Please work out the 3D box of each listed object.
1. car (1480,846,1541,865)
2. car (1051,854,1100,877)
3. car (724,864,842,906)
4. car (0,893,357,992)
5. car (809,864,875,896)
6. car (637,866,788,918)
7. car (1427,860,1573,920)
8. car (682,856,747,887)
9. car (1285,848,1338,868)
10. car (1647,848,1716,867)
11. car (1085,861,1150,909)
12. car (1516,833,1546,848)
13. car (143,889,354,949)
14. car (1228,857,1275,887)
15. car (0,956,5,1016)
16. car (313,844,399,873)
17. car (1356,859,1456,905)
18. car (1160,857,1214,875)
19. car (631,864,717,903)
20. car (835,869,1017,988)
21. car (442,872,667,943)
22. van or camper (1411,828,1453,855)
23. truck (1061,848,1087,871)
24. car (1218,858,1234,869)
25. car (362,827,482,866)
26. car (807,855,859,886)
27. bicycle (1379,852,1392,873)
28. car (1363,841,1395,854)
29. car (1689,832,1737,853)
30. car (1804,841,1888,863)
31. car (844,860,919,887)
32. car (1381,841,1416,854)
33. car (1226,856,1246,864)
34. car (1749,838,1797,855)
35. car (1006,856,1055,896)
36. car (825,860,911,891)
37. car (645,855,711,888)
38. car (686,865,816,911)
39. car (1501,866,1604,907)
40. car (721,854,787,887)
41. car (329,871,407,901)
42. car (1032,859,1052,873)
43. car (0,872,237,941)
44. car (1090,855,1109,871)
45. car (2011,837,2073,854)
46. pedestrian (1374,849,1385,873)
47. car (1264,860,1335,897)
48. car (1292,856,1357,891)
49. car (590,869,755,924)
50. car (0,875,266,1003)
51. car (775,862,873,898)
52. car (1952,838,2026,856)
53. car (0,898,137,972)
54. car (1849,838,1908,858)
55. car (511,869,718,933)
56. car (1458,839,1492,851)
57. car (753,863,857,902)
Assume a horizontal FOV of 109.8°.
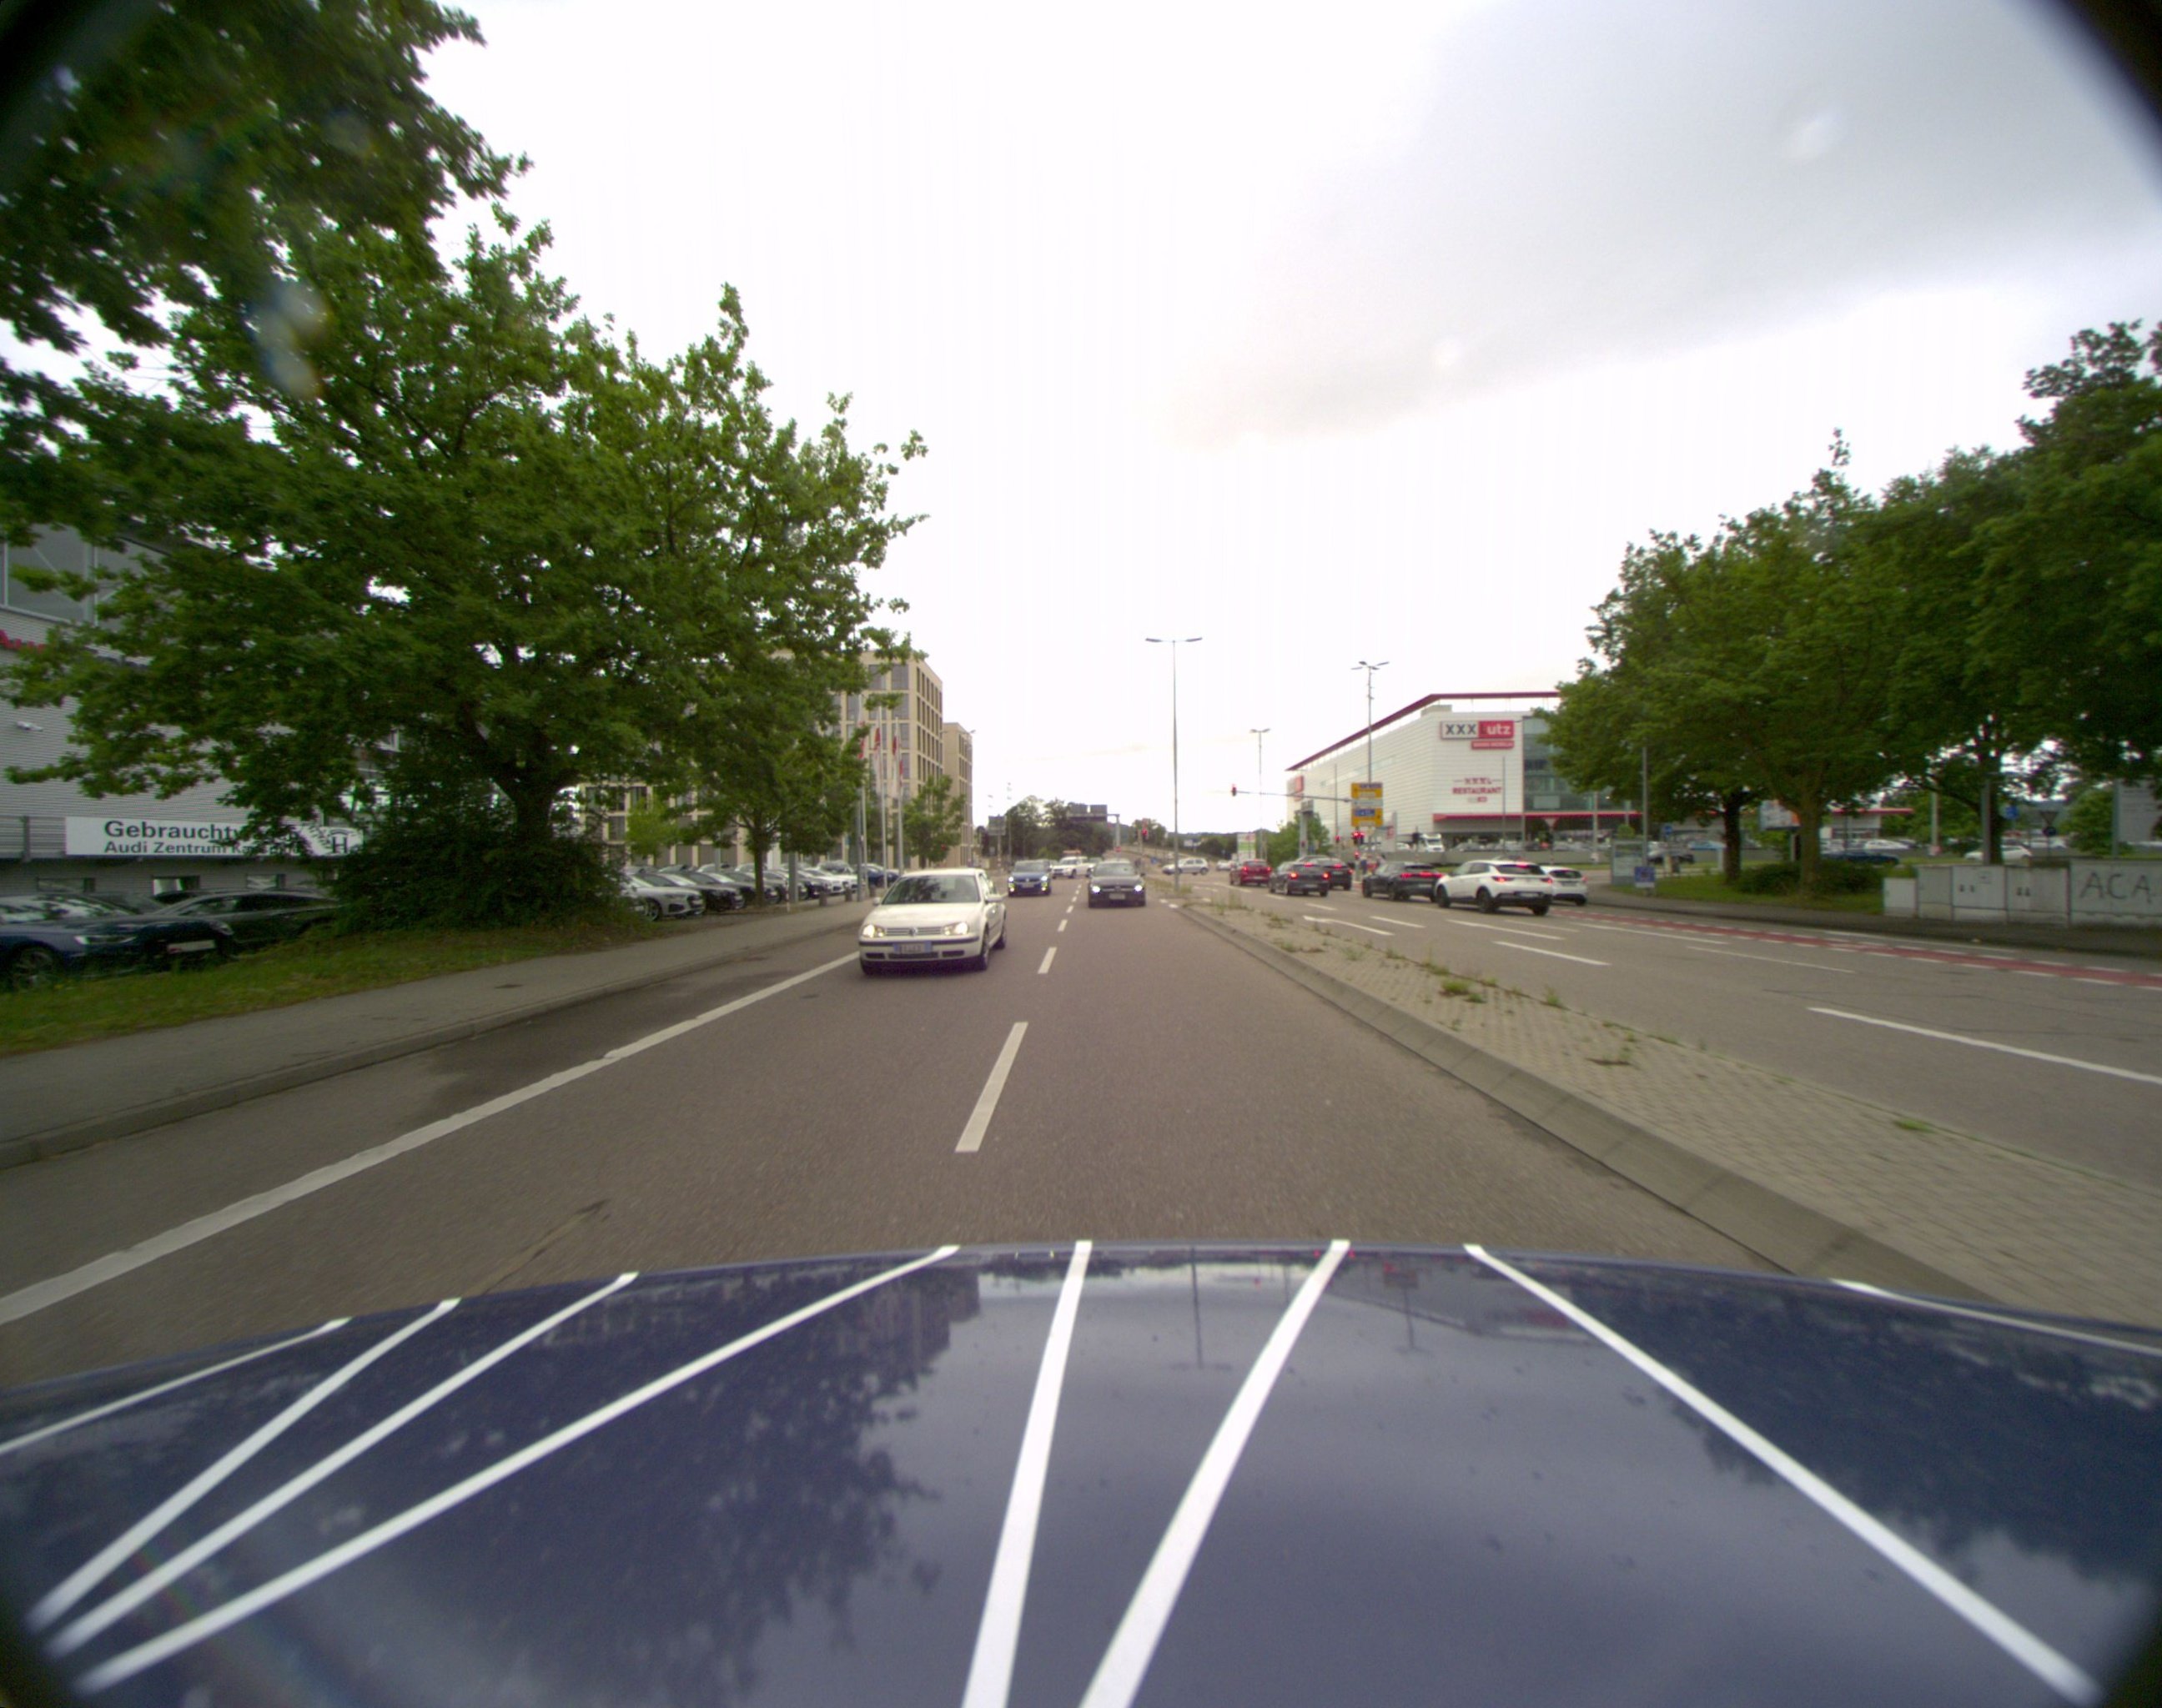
[{"bbox_3d":[37.351,0.149,66.205,4.214,1.407,1.804,-2,-2,4],"label":"car"},{"bbox_3d":[-0.392,0.869,56.958,1.795,1.615,4.383,-2,-2,27],"label":"car"},{"bbox_3d":[-12.730,1.305,32.642,4.228,1.477,1.872,-4,0,2],"label":"car"},{"bbox_3d":[-17.054,1.572,14.681,1.764,1.489,4.286,-3,-2,41],"label":"car"},{"bbox_3d":[-13.076,1.368,41.925,1.891,1.477,4.755,-4,0,2],"label":"car"},{"bbox_3d":[-12.991,1.323,26.975,4.376,1.462,1.895,-4,0,1],"label":"car"},{"bbox_3d":[12.819,1.034,23.643,1.998,1.585,4.578,3,-1,1],"label":"car"},{"bbox_3d":[-25.318,1.179,52.715,2.053,1.866,4.960,-2,2,-1],"label":"car"},{"bbox_3d":[20.513,0.376,67.807,4.214,1.564,1.804,-2,-2,4],"label":"car"},{"bbox_3d":[50.237,0.309,63.637,4.214,1.407,1.804,-2,-2,4],"label":"car"},{"bbox_3d":[1.094,0.994,24.807,1.859,1.426,4.197,0,-2,-1],"label":"car"},{"bbox_3d":[65.169,-1.954,110.025,1.998,2.001,4.002,-2,-2,2],"label":"car"},{"bbox_3d":[-23.815,1.836,21.843,4.112,1.534,1.817,-2,-2,1],"label":"car"},{"bbox_3d":[9.359,0.951,41.970,1.739,1.479,4.078,1,1,1],"label":"car"},{"bbox_3d":[-14.123,1.219,7.507,4.247,1.592,1.876,-7,-2,1],"label":"car"},{"bbox_3d":[-49.737,0.305,52.204,3.997,1.811,2.001,-2,-2,1],"label":"car"},{"bbox_3d":[12.537,1.044,29.691,1.885,1.535,4.597,1,1,-1],"label":"car"},{"bbox_3d":[9.095,1.029,65.523,4.222,1.407,1.800,-1,-2,-18],"label":"car"},{"bbox_3d":[-22.538,1.576,42.304,1.998,1.928,4.818,-1,0,2],"label":"car"},{"bbox_3d":[-2.182,1.005,11.828,1.837,1.469,4.006,-2,-1,2],"label":"car"},{"bbox_3d":[-12.929,1.291,18.842,4.214,1.412,1.856,-3,0,1],"label":"car"},{"bbox_3d":[46.490,-1.560,100.922,2.712,3.116,7.241,-2,-2,5],"label":"van or camper"},{"bbox_3d":[-0.832,0.748,97.660,2.819,2.622,6.678,-2,-2,2],"label":"truck"},{"bbox_3d":[19.648,1.315,103.022,1.693,1.363,3.929,-2,-2,4],"label":"car"},{"bbox_3d":[-30.770,-0.324,35.560,3.997,1.651,1.826,-2,-2,0],"label":"car"},{"bbox_3d":[-17.095,1.093,52.632,1.998,1.852,4.786,-2,2,0],"label":"car"},{"bbox_3d":[21.166,0.578,52.760,0.595,1.388,1.937,1,1,28],"label":"bicycle"},{"bbox_3d":[45.343,-0.967,115.700,4.255,1.665,1.778,-2,-2,4],"label":"car"},{"bbox_3d":[70.033,-1.248,84.215,1.998,2.001,4.002,-2,-2,2],"label":"car"},{"bbox_3d":[54.555,-0.143,54.228,4.114,1.479,1.702,0,1,4],"label":"car"},{"bbox_3d":[-12.769,1.216,48.802,4.225,1.477,1.875,-3,1,2],"label":"car"},{"bbox_3d":[45.721,-0.990,109.317,4.255,1.665,1.778,-2,-2,4],"label":"car"},{"bbox_3d":[33.390,1.383,163.931,4.191,1.600,1.724,-1,-2,9],"label":"car"},{"bbox_3d":[83.582,-0.915,91.830,3.996,1.783,1.892,-2,-2,2],"label":"car"},{"bbox_3d":[-2.315,0.994,33.976,1.848,1.612,4.330,-1,-2,-8],"label":"car"},{"bbox_3d":[-12.830,1.300,45.913,4.513,1.477,2.069,-4,1,0],"label":"car"},{"bbox_3d":[-27.824,1.164,52.655,1.999,2.002,4.786,-2,2,-1],"label":"car"},{"bbox_3d":[-12.893,1.321,29.902,4.187,1.477,1.909,-4,0,1],"label":"car"},{"bbox_3d":[18.258,1.216,29.672,1.860,1.453,4.335,1,-1,9],"label":"car"},{"bbox_3d":[-22.662,1.122,52.935,2.264,2.002,5.038,-2,2,1],"label":"car"},{"bbox_3d":[-44.740,2.021,47.698,4.435,1.649,1.925,-2,1,24],"label":"car"},{"bbox_3d":[-4.432,1.428,87.048,1.870,1.481,4.151,-2,-2,1],"label":"car"},{"bbox_3d":[-24.256,1.297,19.083,4.112,1.534,1.817,-2,-2,1],"label":"car"},{"bbox_3d":[1.956,1.026,82.266,1.904,1.633,4.069,-2,-2,0],"label":"car"},{"bbox_3d":[104.900,-0.920,82.963,1.794,1.556,4.003,-2,-2,5],"label":"car"},{"bbox_3d":[20.774,0.471,52.873,0.639,1.617,0.693,0,2,27],"label":"pedestrian"},{"bbox_3d":[9.218,1.008,32.410,1.861,1.453,4.332,1,-1,1],"label":"car"},{"bbox_3d":[12.573,0.975,39.450,1.885,1.627,4.333,2,0,-1],"label":"car"},{"bbox_3d":[-12.961,1.332,24.280,4.164,1.382,1.903,-4,0,1],"label":"car"},{"bbox_3d":[-13.998,1.227,10.150,4.133,1.385,1.871,-7,-2,1],"label":"car"},{"bbox_3d":[-12.796,1.298,38.014,4.194,1.477,1.853,-4,0,2],"label":"car"},{"bbox_3d":[81.518,-0.598,68.273,4.214,1.407,1.804,-2,-2,4],"label":"car"},{"bbox_3d":[-23.921,1.777,16.644,4.349,1.477,1.741,-2,-2,1],"label":"car"},{"bbox_3d":[88.534,-0.650,84.426,1.998,2.001,4.329,-2,-2,2],"label":"car"},{"bbox_3d":[-13.087,1.284,21.513,4.660,1.463,1.848,-3,-1,1],"label":"car"},{"bbox_3d":[59.603,-1.323,115.014,4.255,1.665,1.778,-2,-2,4],"label":"car"},{"bbox_3d":[-12.761,1.309,35.334,4.041,1.477,1.877,-4,0,2],"label":"car"}]
